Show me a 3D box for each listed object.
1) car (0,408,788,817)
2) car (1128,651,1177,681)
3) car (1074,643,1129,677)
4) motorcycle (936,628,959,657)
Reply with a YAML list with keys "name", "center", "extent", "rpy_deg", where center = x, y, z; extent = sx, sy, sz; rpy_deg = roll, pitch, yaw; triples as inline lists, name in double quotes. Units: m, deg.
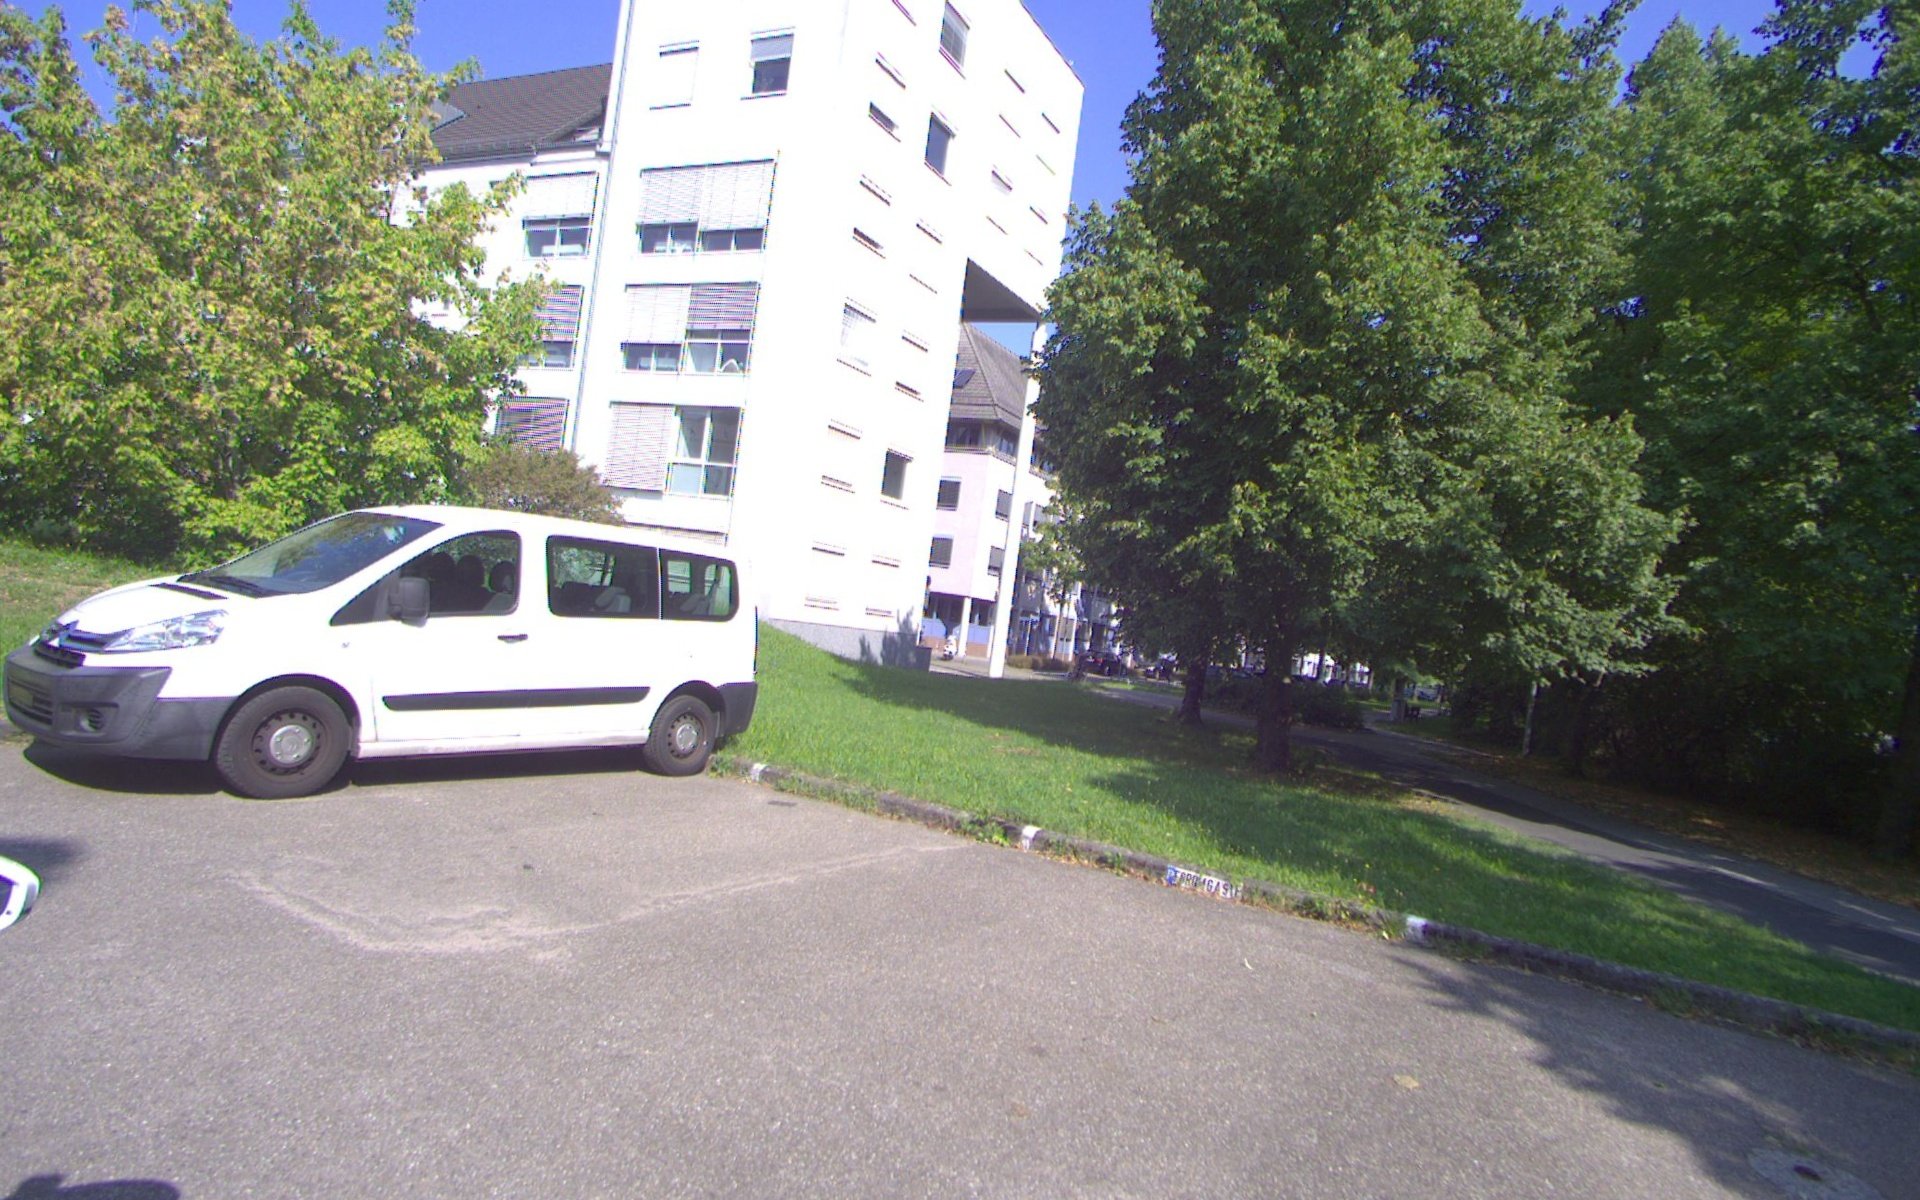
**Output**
- name: "car"
  center: [-3.799, 0.227, 7.379]
  extent: [2.010, 1.942, 4.966]
  rpy_deg: [7, -2, 33]
- name: "car"
  center: [12.857, 4.400, 67.011]
  extent: [1.737, 1.618, 3.995]
  rpy_deg: [7, -2, 31]
- name: "car"
  center: [8.378, 3.551, 59.339]
  extent: [1.736, 1.618, 3.997]
  rpy_deg: [7, -2, 29]
- name: "motorcycle"
  center: [-0.571, 2.007, 47.931]
  extent: [0.694, 1.279, 2.763]
  rpy_deg: [8, -1, 4]
